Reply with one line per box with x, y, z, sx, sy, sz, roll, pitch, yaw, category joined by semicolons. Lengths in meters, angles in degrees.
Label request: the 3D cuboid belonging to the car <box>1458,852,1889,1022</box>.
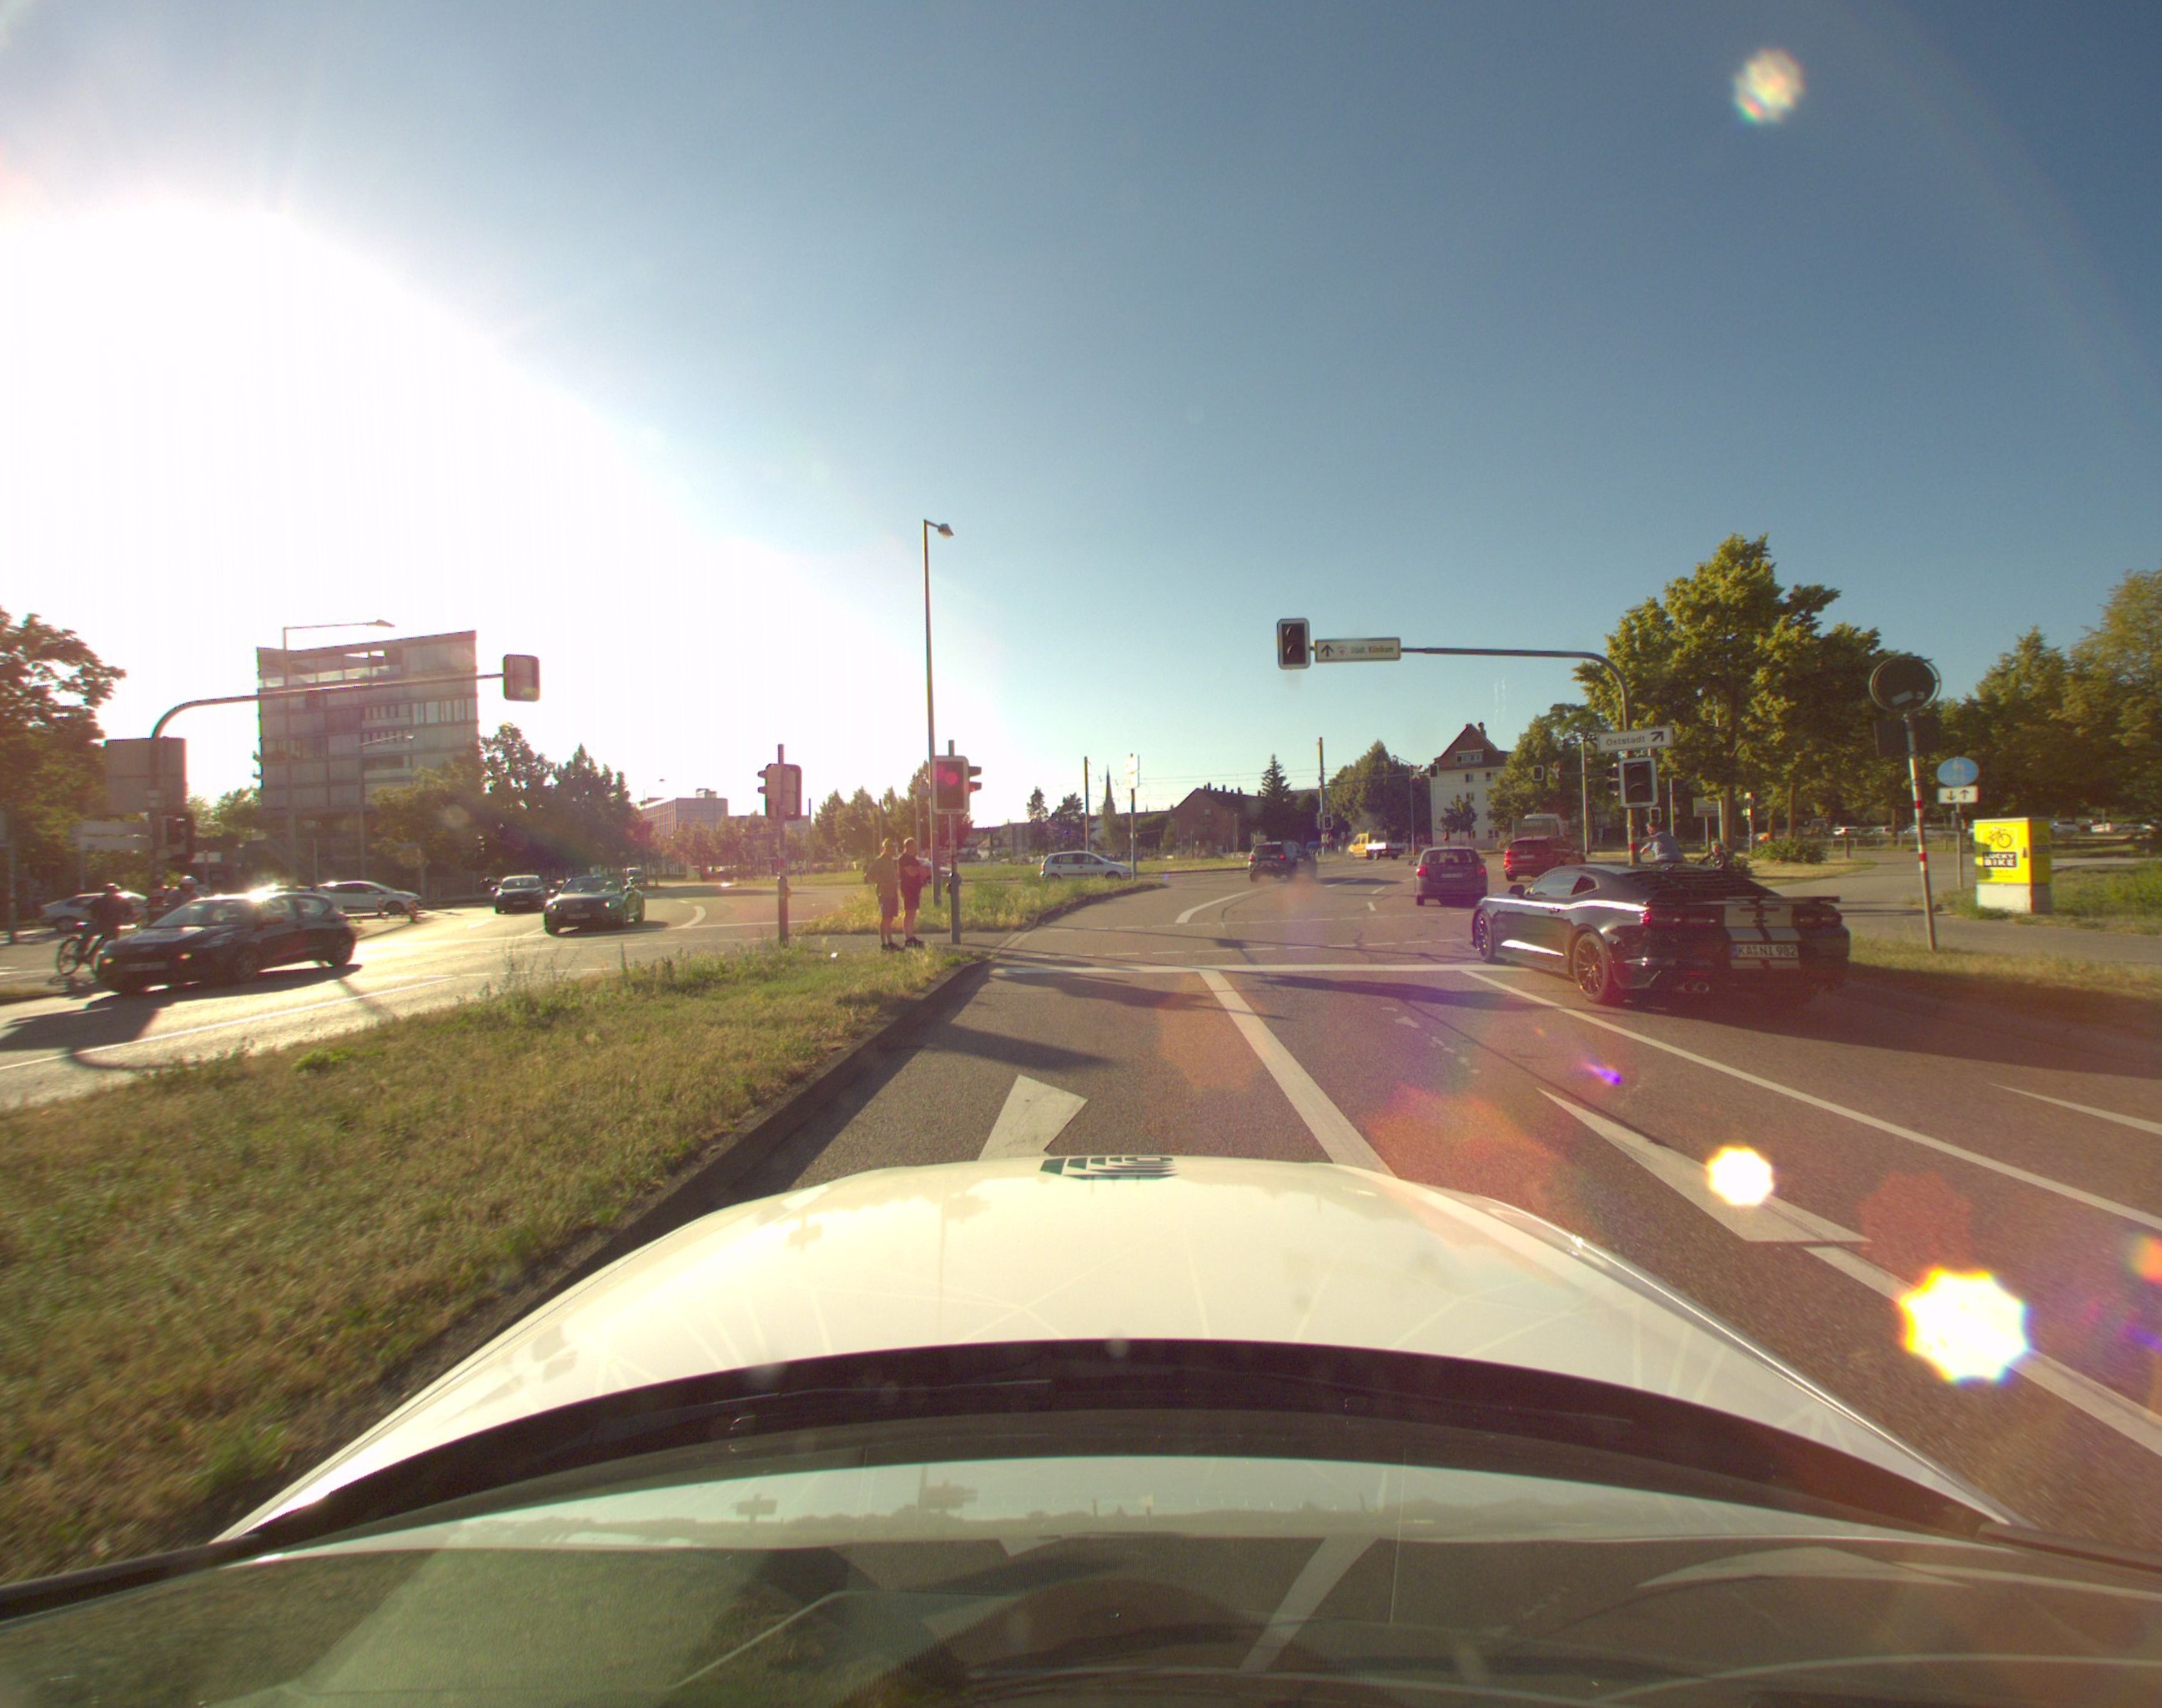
5.920;0.684;9.005;1.844;1.338;4.635;-1;1;7;car

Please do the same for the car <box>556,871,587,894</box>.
-34.610;1.917;55.265;1.515;1.453;3.424;-2;0;-36;car

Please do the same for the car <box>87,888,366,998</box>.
-14.794;1.447;14.421;1.670;1.441;3.598;-3;0;-14;car

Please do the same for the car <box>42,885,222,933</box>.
-37.092;2.109;32.027;4.331;1.508;1.853;-2;0;-41;car

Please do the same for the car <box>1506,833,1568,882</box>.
16.570;0.070;29.500;1.730;1.620;3.844;0;1;33;car

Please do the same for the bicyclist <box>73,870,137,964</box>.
-18.837;1.203;15.723;0.806;1.770;0.498;-1;0;17;bicyclist

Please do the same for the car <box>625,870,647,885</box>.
-66.344;3.490;121.383;2.011;2.013;3.952;-2;0;-42;car

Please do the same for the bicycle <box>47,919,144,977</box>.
-19.123;1.807;15.804;1.893;1.019;0.506;-1;0;17;bicycle

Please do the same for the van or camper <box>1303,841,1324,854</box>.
39.633;-1.089;138.653;2.073;2.154;4.452;-2;0;33;van or camper

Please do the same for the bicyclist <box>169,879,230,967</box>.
-18.457;1.427;17.061;0.808;1.789;0.498;-1;0;10;bicyclist

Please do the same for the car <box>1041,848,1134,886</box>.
0.304;0.536;34.375;3.729;1.434;1.838;-2;0;5;car

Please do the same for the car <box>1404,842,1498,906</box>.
9.585;0.465;21.331;1.733;1.473;3.837;-2;0;17;car

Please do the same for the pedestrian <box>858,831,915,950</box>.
-3.105;0.564;13.034;0.481;1.844;0.723;-2;0;23;pedestrian

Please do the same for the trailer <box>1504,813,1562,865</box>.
22.071;-0.706;39.736;2.070;2.400;3.523;-1;0;36;trailer

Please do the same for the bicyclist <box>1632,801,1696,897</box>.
11.971;-0.097;16.723;0.927;1.899;0.605;-4;-1;38;bicyclist

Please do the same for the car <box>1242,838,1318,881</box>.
8.318;0.198;33.816;1.887;1.660;4.025;-2;0;32;car

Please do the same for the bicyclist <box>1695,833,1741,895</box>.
13.982;0.213;17.880;0.650;1.294;0.464;-3;1;-16;bicyclist

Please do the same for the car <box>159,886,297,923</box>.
-42.213;2.476;40.414;1.851;1.508;4.335;-2;0;28;car

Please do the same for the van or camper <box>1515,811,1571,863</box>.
25.519;-0.890;44.827;2.262;2.629;6.625;-1;0;33;van or camper

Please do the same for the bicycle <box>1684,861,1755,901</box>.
14.021;0.581;17.882;1.462;0.786;0.437;-3;0;-16;bicycle

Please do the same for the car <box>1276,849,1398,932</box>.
5.591;0.720;18.240;1.595;1.610;4.003;-2;0;3;car

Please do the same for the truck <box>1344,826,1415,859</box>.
25.172;-0.943;68.897;2.584;2.558;6.222;-2;0;-13;truck

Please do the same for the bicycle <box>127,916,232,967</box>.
-18.954;1.829;17.132;1.897;1.019;0.506;-1;0;9;bicycle

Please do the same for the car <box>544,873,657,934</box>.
-13.141;1.289;22.526;1.671;1.376;4.125;-3;0;-17;car

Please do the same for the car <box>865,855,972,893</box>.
-7.067;0.850;35.590;4.098;1.444;1.916;-2;0;12;car

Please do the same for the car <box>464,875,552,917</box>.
-22.560;1.620;32.216;1.671;1.376;3.757;-3;0;-17;car

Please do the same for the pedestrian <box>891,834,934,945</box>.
-2.877;0.589;13.931;0.483;1.844;0.673;-2;0;5;pedestrian

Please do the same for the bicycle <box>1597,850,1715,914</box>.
11.862;0.594;16.830;1.885;1.244;0.613;-4;-1;38;bicycle

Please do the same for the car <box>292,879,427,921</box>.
-31.309;1.974;35.502;3.983;1.508;1.833;-2;0;-26;car
